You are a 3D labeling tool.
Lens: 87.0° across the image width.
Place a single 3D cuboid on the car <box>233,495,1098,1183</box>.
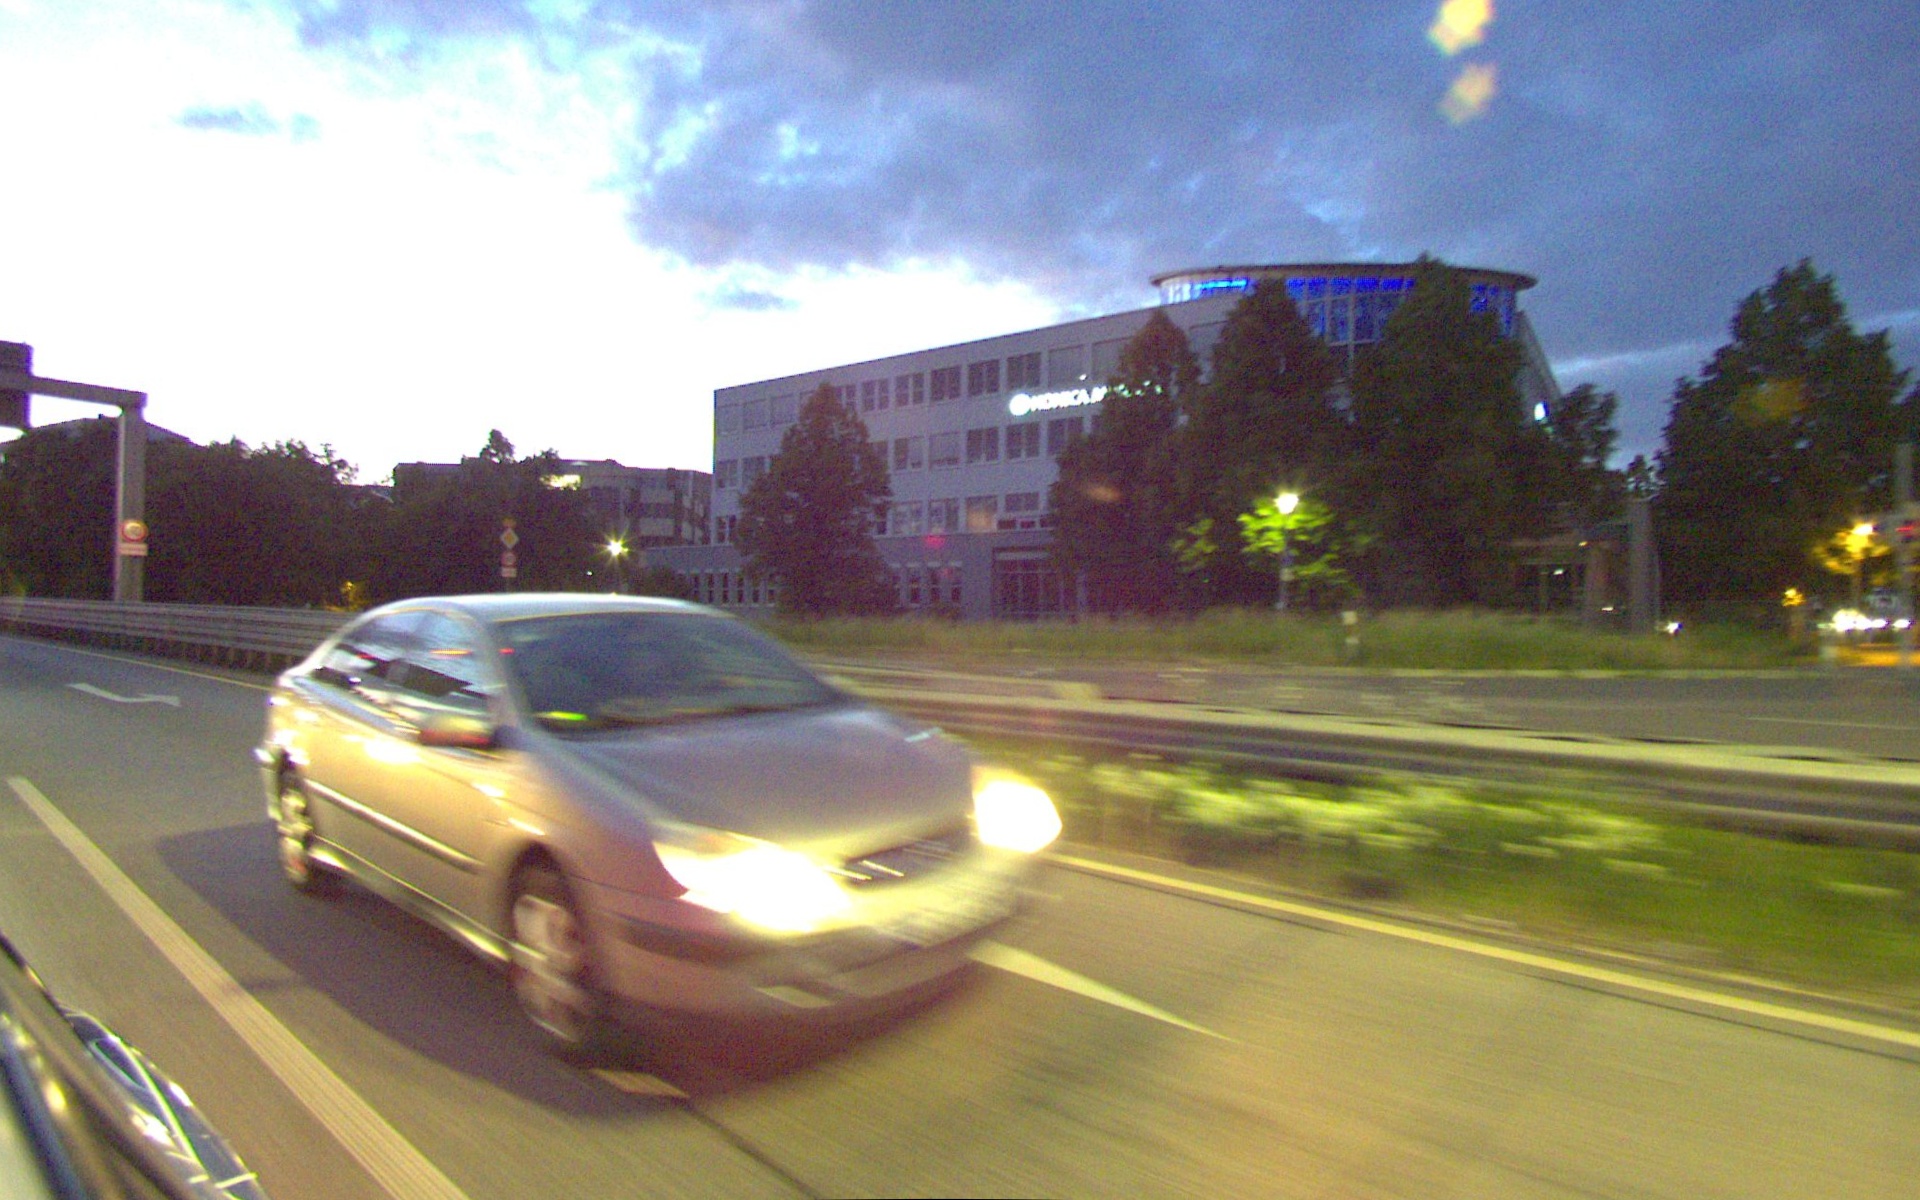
[{"bbox_3d":[-1.684,0.565,4.543,4.410,1.665,1.648,0,1,42],"label":"car"}]
